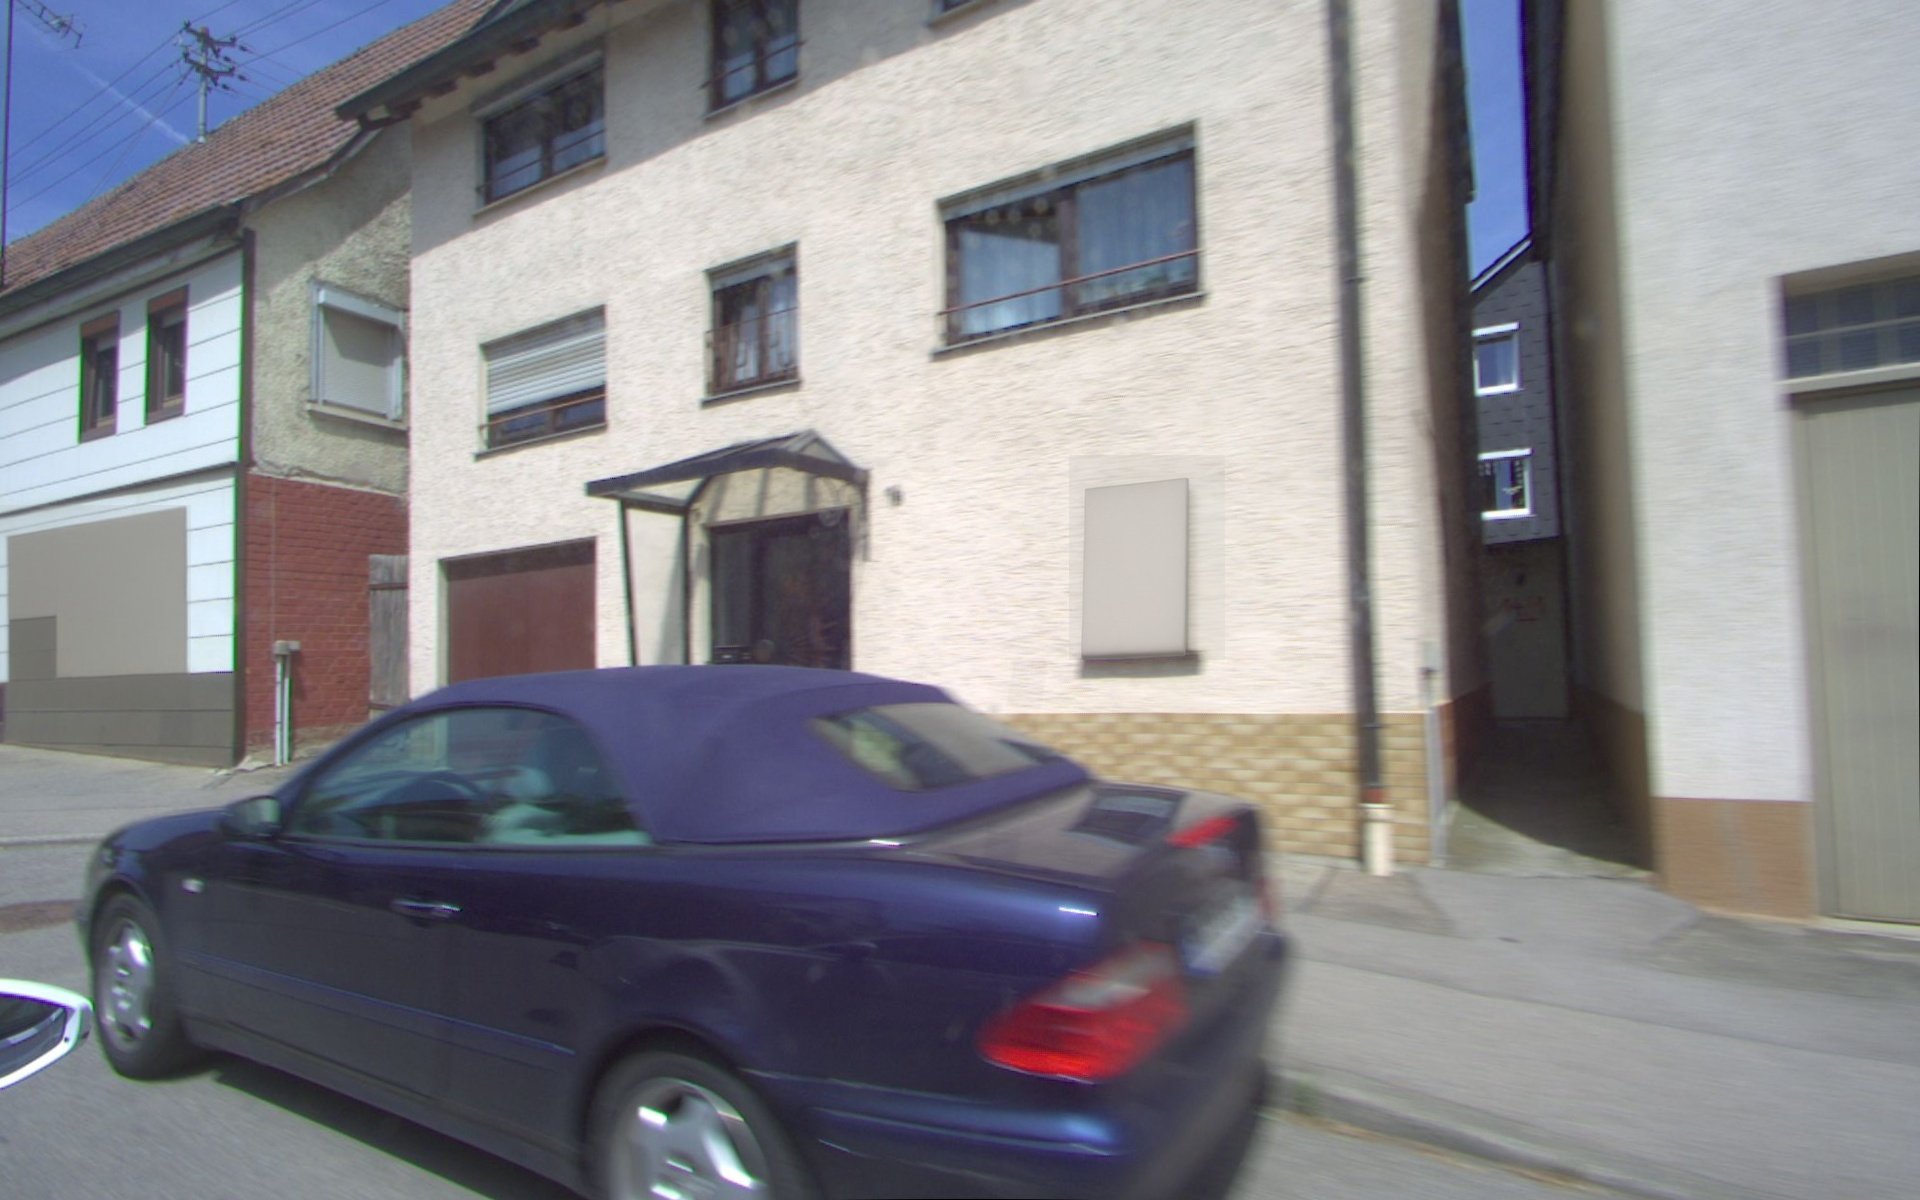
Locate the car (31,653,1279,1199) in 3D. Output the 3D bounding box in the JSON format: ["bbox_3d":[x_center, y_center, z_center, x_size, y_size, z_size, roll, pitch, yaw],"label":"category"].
[{"bbox_3d":[-1.211,0.885,3.383,4.124,1.369,1.665,-1,-3,30],"label":"car"}]
